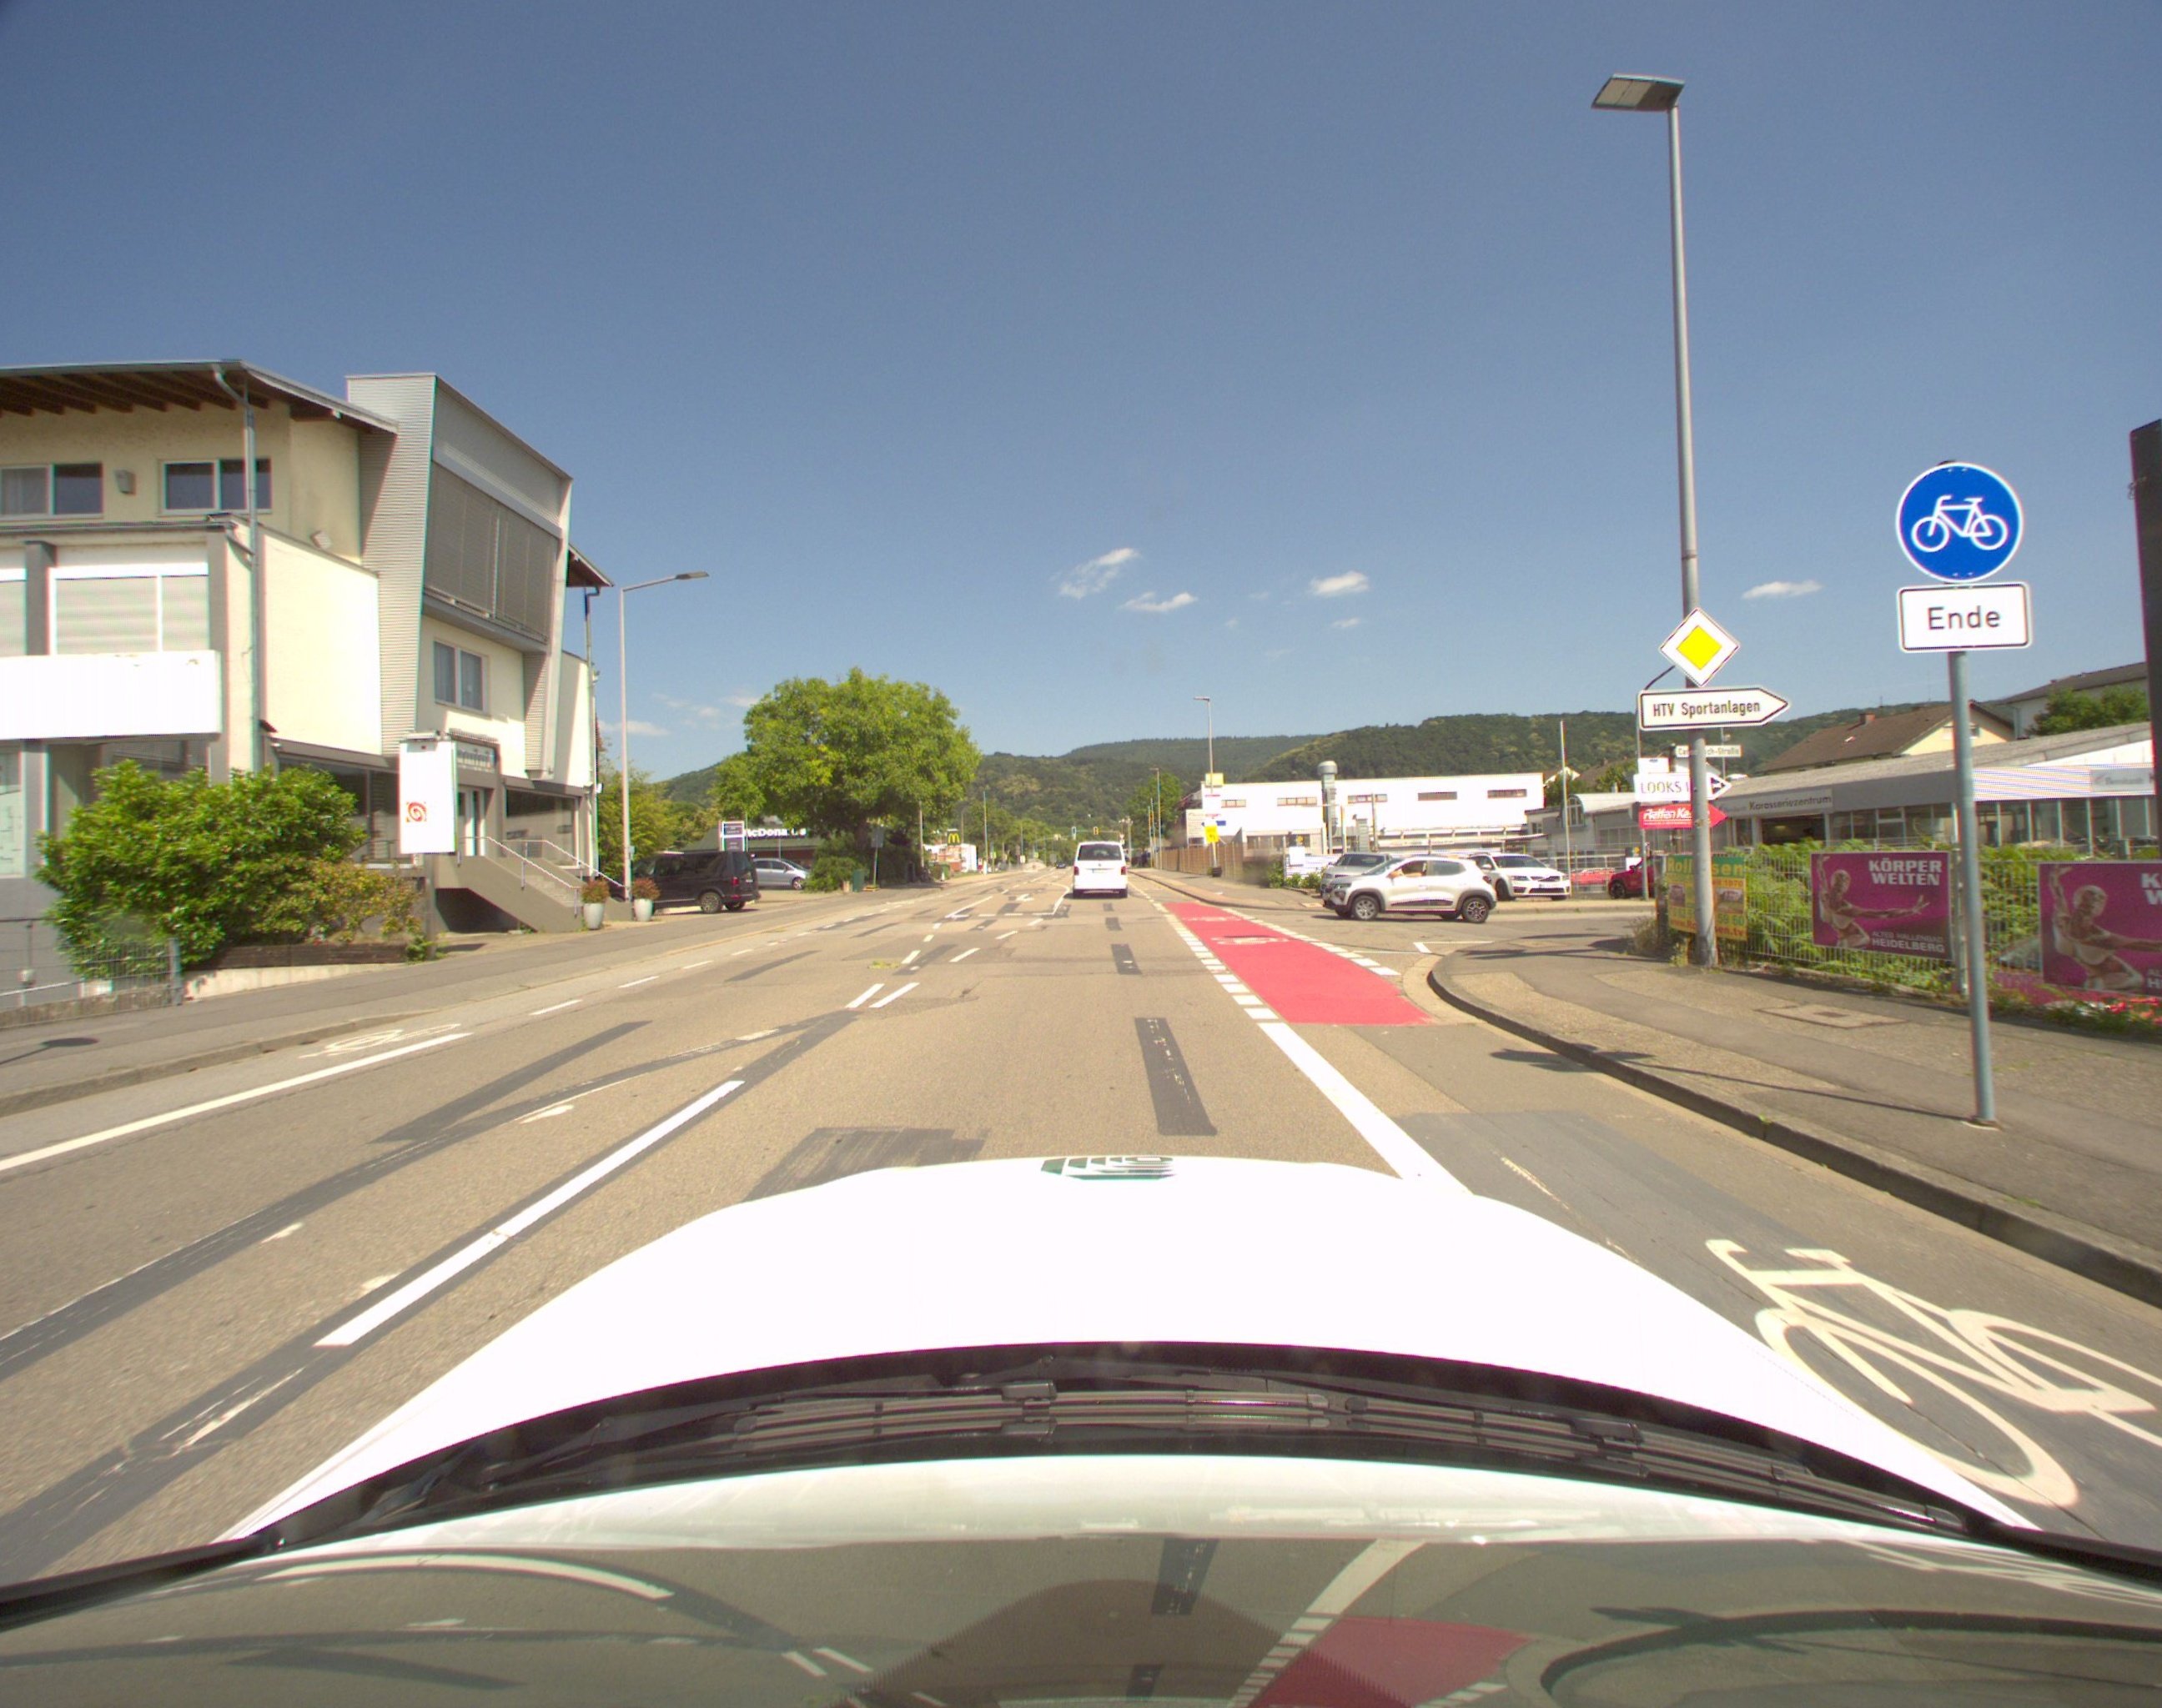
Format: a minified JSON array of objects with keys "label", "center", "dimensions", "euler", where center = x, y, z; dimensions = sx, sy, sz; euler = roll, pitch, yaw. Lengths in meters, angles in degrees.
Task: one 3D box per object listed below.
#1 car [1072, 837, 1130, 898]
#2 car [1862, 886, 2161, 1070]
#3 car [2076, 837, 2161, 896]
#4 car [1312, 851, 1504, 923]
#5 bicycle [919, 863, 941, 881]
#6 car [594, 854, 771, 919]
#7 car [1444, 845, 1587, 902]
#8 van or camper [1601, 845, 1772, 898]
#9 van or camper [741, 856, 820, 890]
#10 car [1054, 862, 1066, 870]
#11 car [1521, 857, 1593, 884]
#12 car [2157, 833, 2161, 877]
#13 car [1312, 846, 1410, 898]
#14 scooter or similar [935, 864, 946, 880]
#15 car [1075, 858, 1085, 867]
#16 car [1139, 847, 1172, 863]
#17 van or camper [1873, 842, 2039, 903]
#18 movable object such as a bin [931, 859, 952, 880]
[{"label":"car","center":[0.649,0.475,29.688],"dimensions":[1.929,2.059,4.542],"euler":[0,0,-1]},{"label":"car","center":[9.648,0.994,7.087],"dimensions":[3.966,1.346,1.609],"euler":[-1,0,6]},{"label":"car","center":[33.012,0.336,24.896],"dimensions":[1.974,1.647,4.025],"euler":[0,1,30]},{"label":"car","center":[7.348,0.713,18.546],"dimensions":[3.653,1.484,1.727],"euler":[-1,0,-1]},{"label":"bicycle","center":[-10.006,1.192,54.018],"dimensions":[1.024,1.118,2.763],"euler":[0,0,-2]},{"label":"car","center":[-12.611,1.001,26.043],"dimensions":[4.558,1.865,2.089],"euler":[-1,0,-5]},{"label":"car","center":[12.770,0.528,24.316],"dimensions":[1.842,1.504,4.505],"euler":[-2,0,0]},{"label":"van or camper","center":[18.195,0.484,24.770],"dimensions":[1.988,1.351,4.227],"euler":[4,0,-1]},{"label":"van or camper","center":[-15.273,0.951,41.526],"dimensions":[3.379,1.665,1.634],"euler":[0,0,2]},{"label":"car","center":[-3.830,2.134,150.375],"dimensions":[1.988,1.370,4.325],"euler":[-3,0,-1]},{"label":"car","center":[33.566,1.148,57.462],"dimensions":[3.976,1.857,1.914],"euler":[-1,-1,-2]},{"label":"car","center":[36.144,0.000,25.351],"dimensions":[1.771,1.464,3.848],"euler":[0,-1,29]},{"label":"car","center":[8.556,0.543,24.598],"dimensions":[1.933,1.359,4.524],"euler":[2,-1,30]},{"label":"scooter or similar","center":[-9.902,1.270,57.535],"dimensions":[0.646,1.128,1.619],"euler":[1,0,-6]},{"label":"car","center":[-0.174,1.551,154.832],"dimensions":[1.843,1.588,4.000],"euler":[-3,0,1]},{"label":"car","center":[9.522,0.134,103.925],"dimensions":[3.966,1.775,2.004],"euler":[-3,0,6]},{"label":"van or camper","center":[26.466,0.550,24.856],"dimensions":[1.975,1.543,4.254],"euler":[-7,-4,27]},{"label":"movable object such as a bin","center":[-10.858,1.216,63.486],"dimensions":[1.447,1.590,1.303],"euler":[-3,0,-8]}]
